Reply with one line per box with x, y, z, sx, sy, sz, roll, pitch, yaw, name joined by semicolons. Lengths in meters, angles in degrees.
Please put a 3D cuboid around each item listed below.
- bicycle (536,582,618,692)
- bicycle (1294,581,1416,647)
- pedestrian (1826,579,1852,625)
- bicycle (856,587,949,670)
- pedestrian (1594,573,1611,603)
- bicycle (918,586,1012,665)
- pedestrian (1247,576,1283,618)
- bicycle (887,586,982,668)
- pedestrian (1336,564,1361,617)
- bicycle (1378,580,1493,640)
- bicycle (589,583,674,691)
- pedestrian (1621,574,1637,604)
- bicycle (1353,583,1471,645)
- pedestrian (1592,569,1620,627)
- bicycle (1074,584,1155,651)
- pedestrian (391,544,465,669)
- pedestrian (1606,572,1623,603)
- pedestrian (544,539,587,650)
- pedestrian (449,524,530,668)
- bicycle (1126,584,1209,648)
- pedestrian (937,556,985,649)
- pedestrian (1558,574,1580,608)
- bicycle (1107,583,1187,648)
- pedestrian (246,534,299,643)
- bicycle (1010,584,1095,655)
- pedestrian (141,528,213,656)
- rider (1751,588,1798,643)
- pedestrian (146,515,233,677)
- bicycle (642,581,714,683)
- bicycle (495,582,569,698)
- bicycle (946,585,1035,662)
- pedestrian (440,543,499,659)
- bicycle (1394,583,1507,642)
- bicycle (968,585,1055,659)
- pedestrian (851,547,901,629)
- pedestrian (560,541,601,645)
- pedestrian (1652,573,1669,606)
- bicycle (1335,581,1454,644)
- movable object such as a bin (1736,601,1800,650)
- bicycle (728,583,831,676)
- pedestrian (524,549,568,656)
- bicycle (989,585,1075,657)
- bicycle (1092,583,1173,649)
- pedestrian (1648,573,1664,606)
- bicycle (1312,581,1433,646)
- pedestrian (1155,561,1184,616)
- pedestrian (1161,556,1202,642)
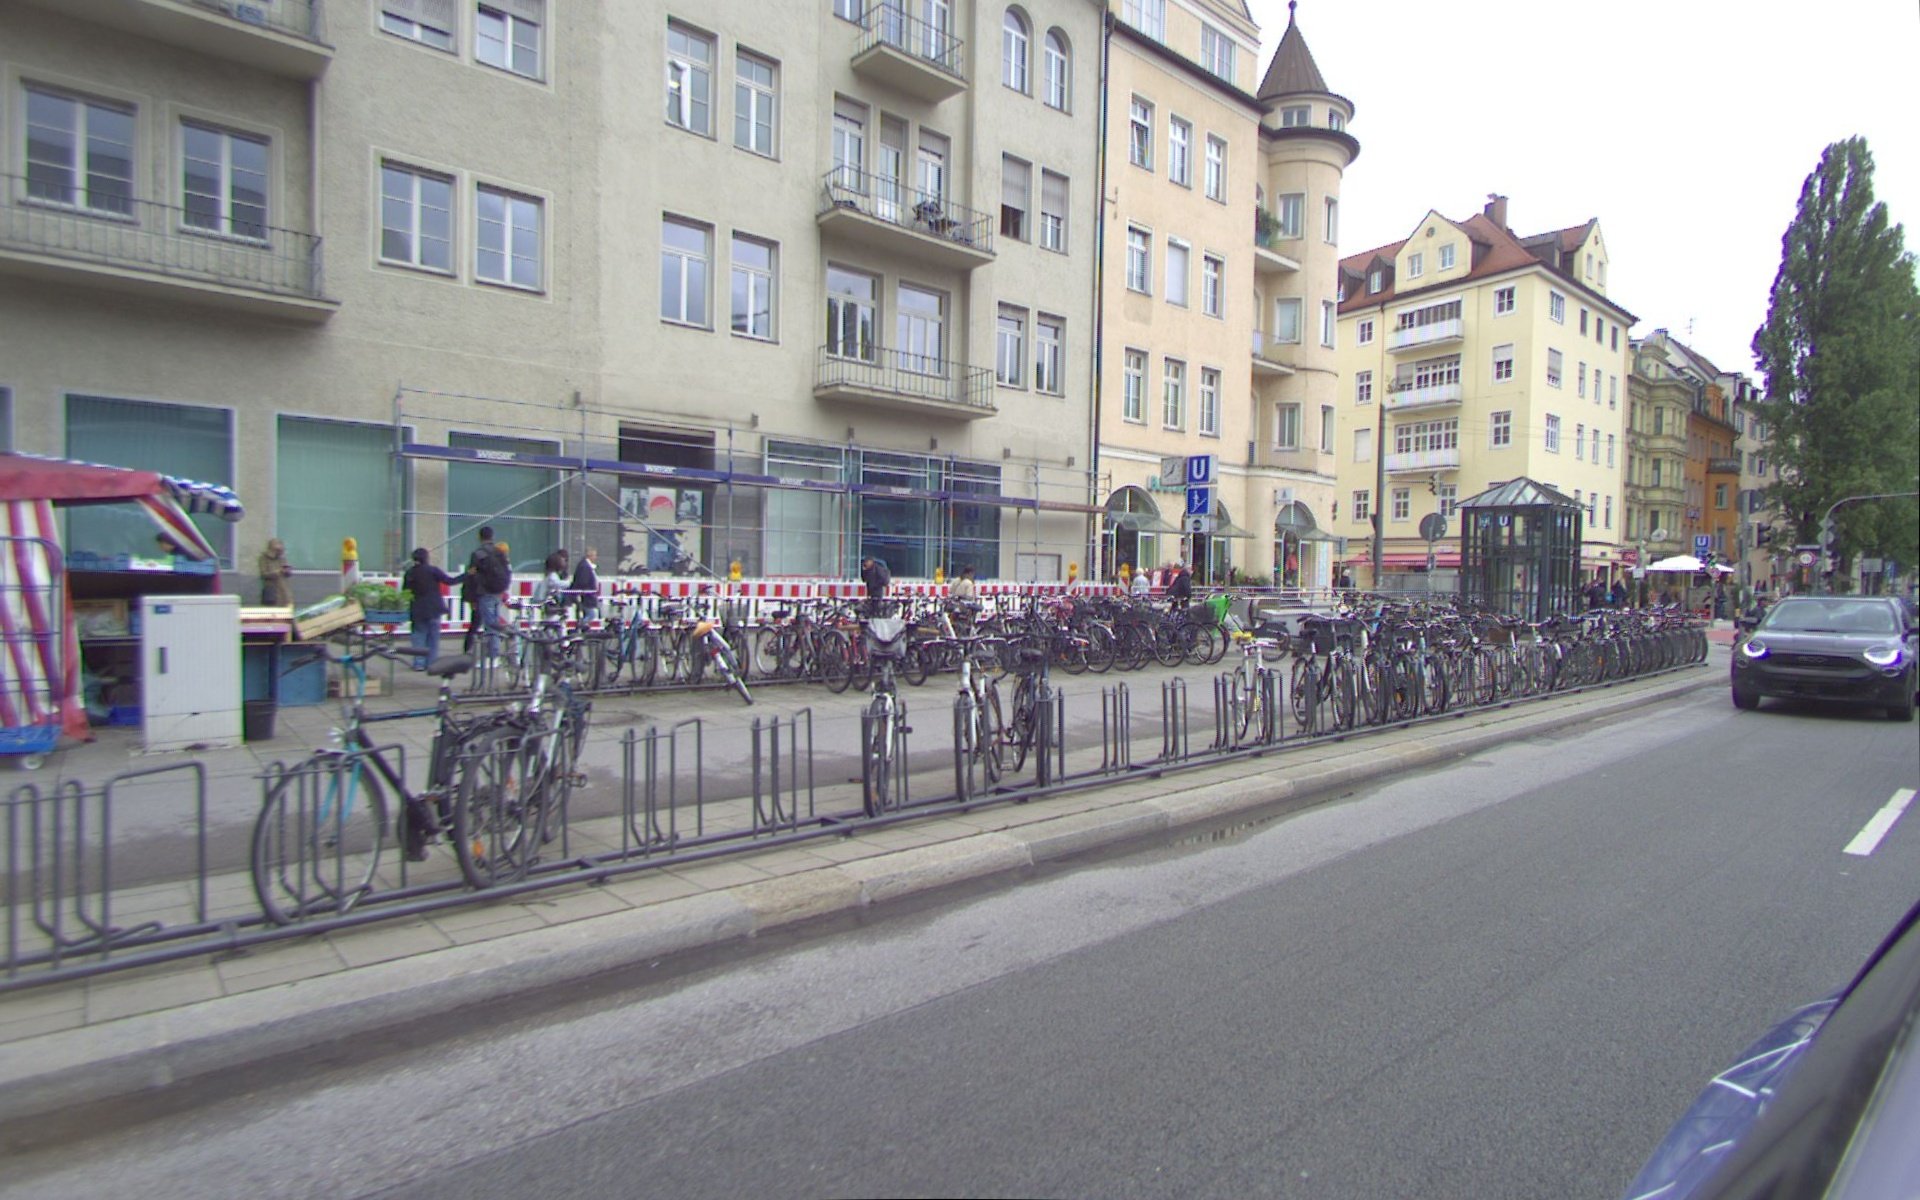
-4.398;0.381;11.568;0.403;1.116;1.633;0;3;-38;bicycle
8.167;0.264;21.046;0.617;1.242;2.369;0;2;-38;bicycle
36.235;0.068;41.739;0.729;1.823;0.701;2;4;40;pedestrian
-0.843;0.384;14.592;1.447;1.091;0.404;4;3;41;bicycle
33.318;-0.645;52.480;0.575;1.544;0.528;0;2;-40;pedestrian
0.060;0.361;15.365;1.530;1.091;0.404;4;3;42;bicycle
9.595;-0.101;31.815;0.903;1.260;0.700;-2;3;-42;pedestrian
-0.396;0.373;14.994;1.530;1.091;0.404;4;3;42;bicycle
12.877;-0.327;33.537;0.580;1.721;0.565;-2;3;-42;pedestrian
10.841;0.199;23.146;0.617;1.242;2.331;0;2;-38;bicycle
-3.881;0.396;11.879;0.403;1.116;1.633;0;3;-38;bicycle
38.134;-0.618;57.688;0.575;1.705;0.552;0;2;-40;pedestrian
9.983;0.286;22.442;0.617;1.242;2.344;0;2;-38;bicycle
20.119;-0.071;31.515;0.634;1.799;0.605;1;1;26;pedestrian
2.727;0.286;17.963;1.449;1.091;0.403;4;3;45;bicycle
-6.865;0.064;13.050;0.716;1.546;0.678;0;2;-39;pedestrian
33.712;-0.642;52.139;0.575;1.544;0.528;0;2;-40;pedestrian
-6.168;-0.086;15.828;0.464;1.694;0.525;-1;1;-42;pedestrian
-6.302;-0.070;13.551;0.713;1.851;0.720;2;2;35;pedestrian
3.896;0.279;19.094;0.403;1.091;1.651;0;3;-38;bicycle
0.021;0.031;18.002;0.655;1.602;0.532;2;1;25;pedestrian
31.074;-0.470;51.655;0.610;1.687;0.685;1;1;-5;pedestrian
3.436;0.265;18.677;1.449;1.091;0.403;4;3;45;bicycle
-10.479;-0.187;15.435;0.598;1.623;0.465;0;2;-44;pedestrian
1.550;0.312;17.141;1.447;1.091;0.404;4;3;41;bicycle
-10.607;-0.119;13.713;0.751;1.671;0.602;0;2;-39;pedestrian
19.801;0.363;24.598;0.721;1.256;0.731;-1;4;-43;rider
-8.477;-0.057;11.131;0.717;1.694;0.795;0;2;-41;pedestrian
-3.485;0.356;12.426;0.402;1.116;1.636;0;3;-32;bicycle
-4.705;0.394;11.082;0.402;1.116;1.635;0;3;-35;bicycle
0.468;0.347;15.880;1.447;1.091;0.404;4;3;41;bicycle
-6.898;0.003;14.225;0.651;1.584;0.544;2;2;44;pedestrian
11.413;0.258;23.619;0.617;1.242;2.318;0;2;-38;bicycle
0.811;0.335;16.327;1.447;1.091;0.404;4;3;41;bicycle
-1.743;-0.258;20.973;0.819;1.652;0.564;0;2;-38;pedestrian
-6.294;-0.124;16.803;0.495;1.695;0.541;0;1;-3;pedestrian
36.893;-0.538;53.277;0.575;1.705;0.552;0;2;-40;pedestrian
9.321;0.239;21.801;0.617;1.242;2.318;0;2;-38;bicycle
19.720;0.597;24.698;0.735;1.075;1.088;-1;5;-43;movable object such as a bin
-2.436;0.367;13.524;1.627;1.116;0.404;4;3;40;bicycle
-6.217;0.032;15.198;0.458;1.559;0.560;-1;1;-40;pedestrian
1.183;0.322;16.823;1.447;1.091;0.404;4;3;41;bicycle
3.106;0.275;18.326;1.449;1.091;0.403;4;3;45;bicycle
37.203;-0.559;54.106;0.575;1.705;0.552;0;2;-40;pedestrian
8.700;0.252;21.449;0.617;1.242;2.344;0;2;-38;bicycle
5.971;-0.338;28.787;0.580;1.560;0.565;-2;3;-42;pedestrian
4.584;-0.026;20.964;0.728;1.729;0.703;1;1;9;pedestrian
